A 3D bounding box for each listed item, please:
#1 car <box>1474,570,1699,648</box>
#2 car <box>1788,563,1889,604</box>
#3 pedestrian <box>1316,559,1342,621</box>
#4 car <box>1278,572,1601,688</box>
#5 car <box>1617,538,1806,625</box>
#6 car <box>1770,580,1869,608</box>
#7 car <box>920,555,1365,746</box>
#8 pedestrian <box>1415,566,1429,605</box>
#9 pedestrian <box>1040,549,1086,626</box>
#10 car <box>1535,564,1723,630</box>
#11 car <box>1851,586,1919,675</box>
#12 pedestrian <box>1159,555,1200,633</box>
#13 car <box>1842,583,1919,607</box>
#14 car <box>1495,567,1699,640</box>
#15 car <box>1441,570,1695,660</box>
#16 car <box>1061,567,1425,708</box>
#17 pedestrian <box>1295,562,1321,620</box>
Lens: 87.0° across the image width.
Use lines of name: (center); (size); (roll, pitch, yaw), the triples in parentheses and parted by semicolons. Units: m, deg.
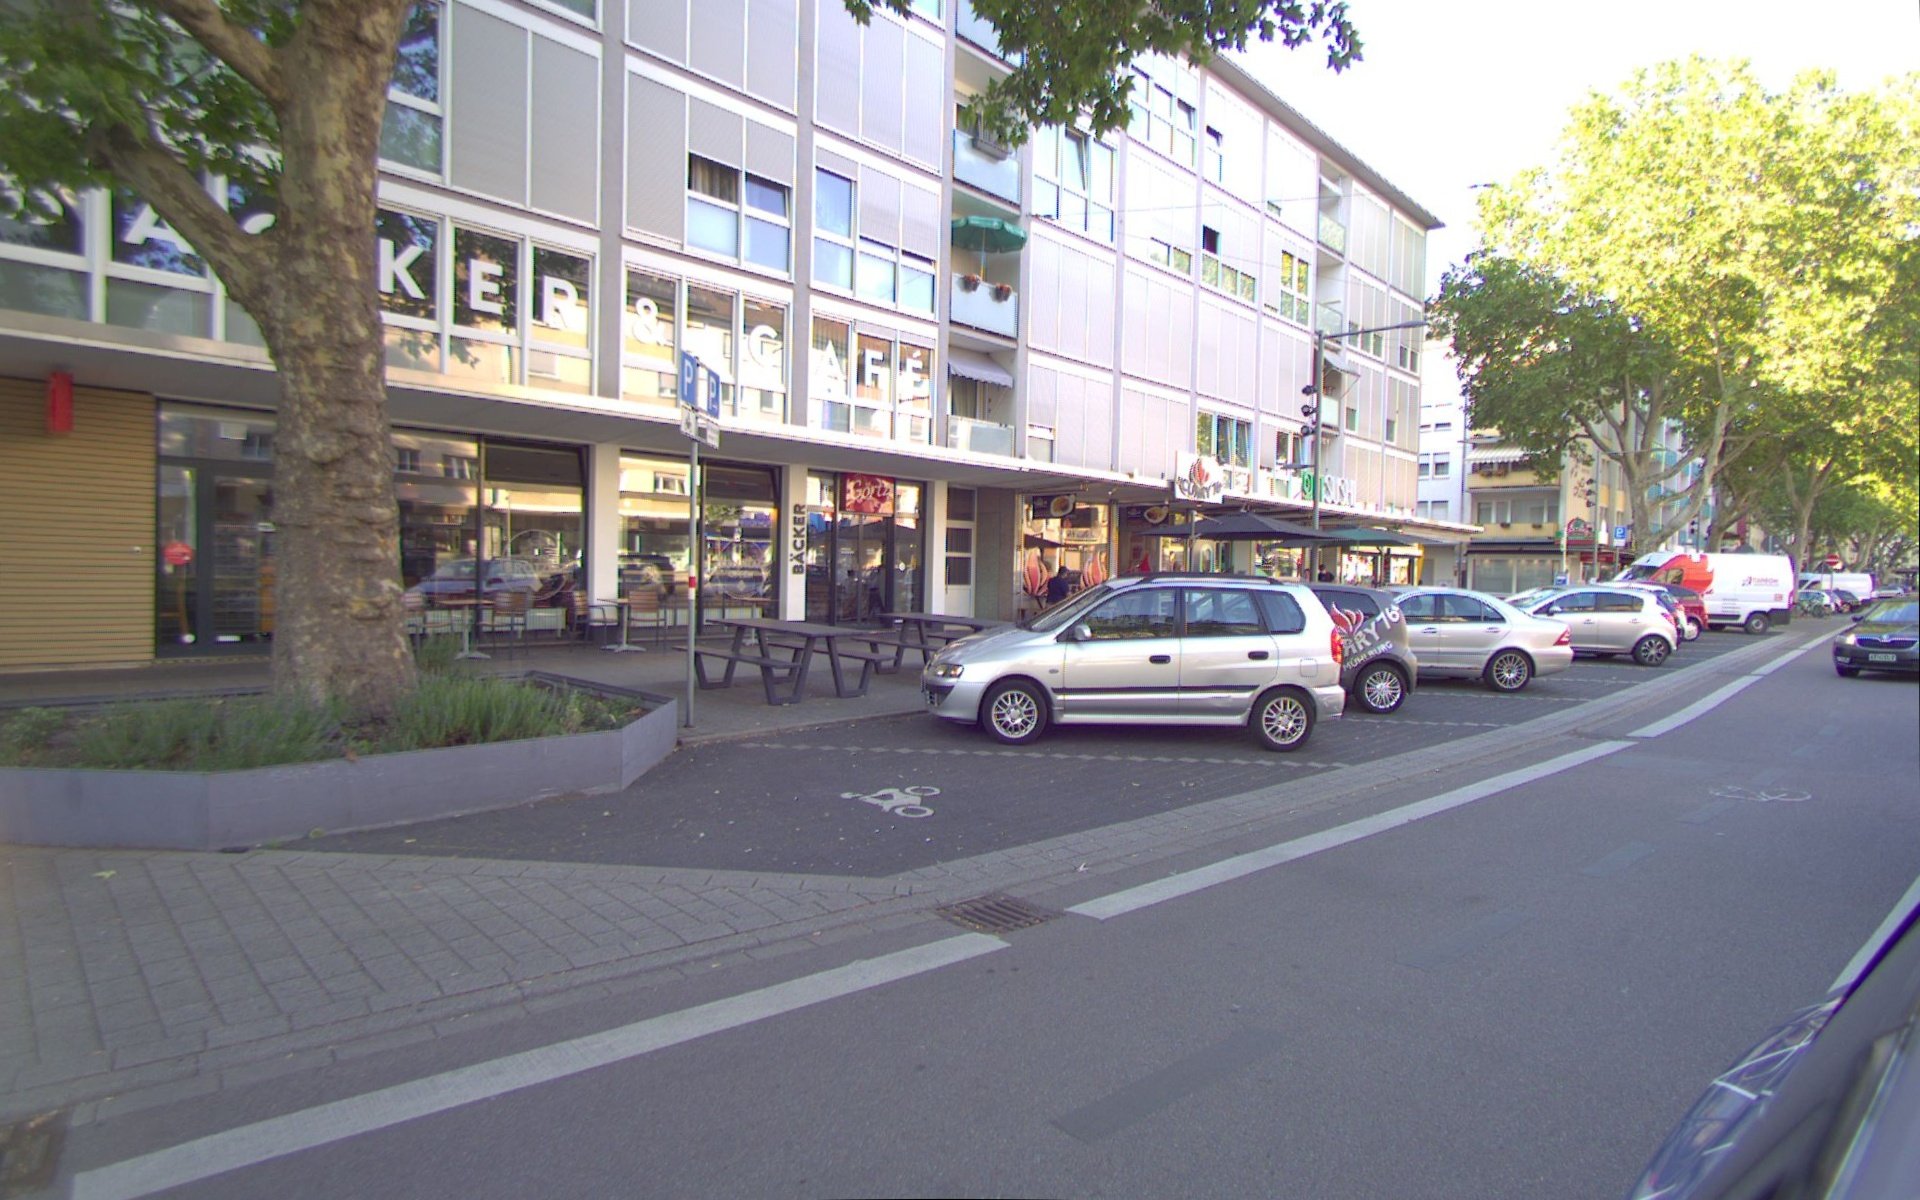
car: (13.961, 0.148, 22.802); (3.886, 1.446, 1.670); (3, 3, 16)
car: (56.507, -1.080, 65.167); (4.512, 2.499, 1.977); (1, 2, 3)
pedestrian: (10.547, -0.282, 28.925); (0.544, 1.741, 0.450); (2, 2, 45)
car: (6.874, 0.392, 14.789); (3.867, 1.418, 1.598); (2, 3, 1)
car: (23.722, -0.582, 32.087); (4.514, 2.525, 1.675); (2, 0, 5)
car: (48.072, -0.356, 56.654); (3.864, 1.422, 1.782); (1, 2, 3)
car: (1.608, 0.425, 9.843); (3.906, 1.560, 1.679); (2, 3, -3)
pedestrian: (20.905, -0.672, 45.784); (0.473, 1.751, 0.347); (1, 1, 11)
pedestrian: (2.179, -0.280, 21.443); (0.757, 1.602, 0.583); (0, 2, -39)
car: (18.152, -0.123, 27.681); (3.892, 1.445, 1.668); (4, 5, 19)
car: (17.287, 0.479, 17.996); (4.156, 1.470, 1.726); (-1, 0, -42)
pedestrian: (4.590, -0.128, 21.186); (0.559, 1.596, 0.632); (2, 2, 44)
car: (56.436, -0.333, 61.541); (3.864, 1.350, 1.782); (1, 2, 3)
car: (15.757, 0.035, 25.269); (3.888, 1.445, 1.669); (4, 5, 17)
car: (11.796, 0.254, 19.838); (3.871, 1.446, 1.559); (3, 3, 4)
car: (3.314, 0.403, 12.336); (3.864, 1.446, 1.679); (2, 3, -3)
pedestrian: (10.070, -0.264, 29.273); (0.536, 1.660, 0.470); (2, 2, 45)
